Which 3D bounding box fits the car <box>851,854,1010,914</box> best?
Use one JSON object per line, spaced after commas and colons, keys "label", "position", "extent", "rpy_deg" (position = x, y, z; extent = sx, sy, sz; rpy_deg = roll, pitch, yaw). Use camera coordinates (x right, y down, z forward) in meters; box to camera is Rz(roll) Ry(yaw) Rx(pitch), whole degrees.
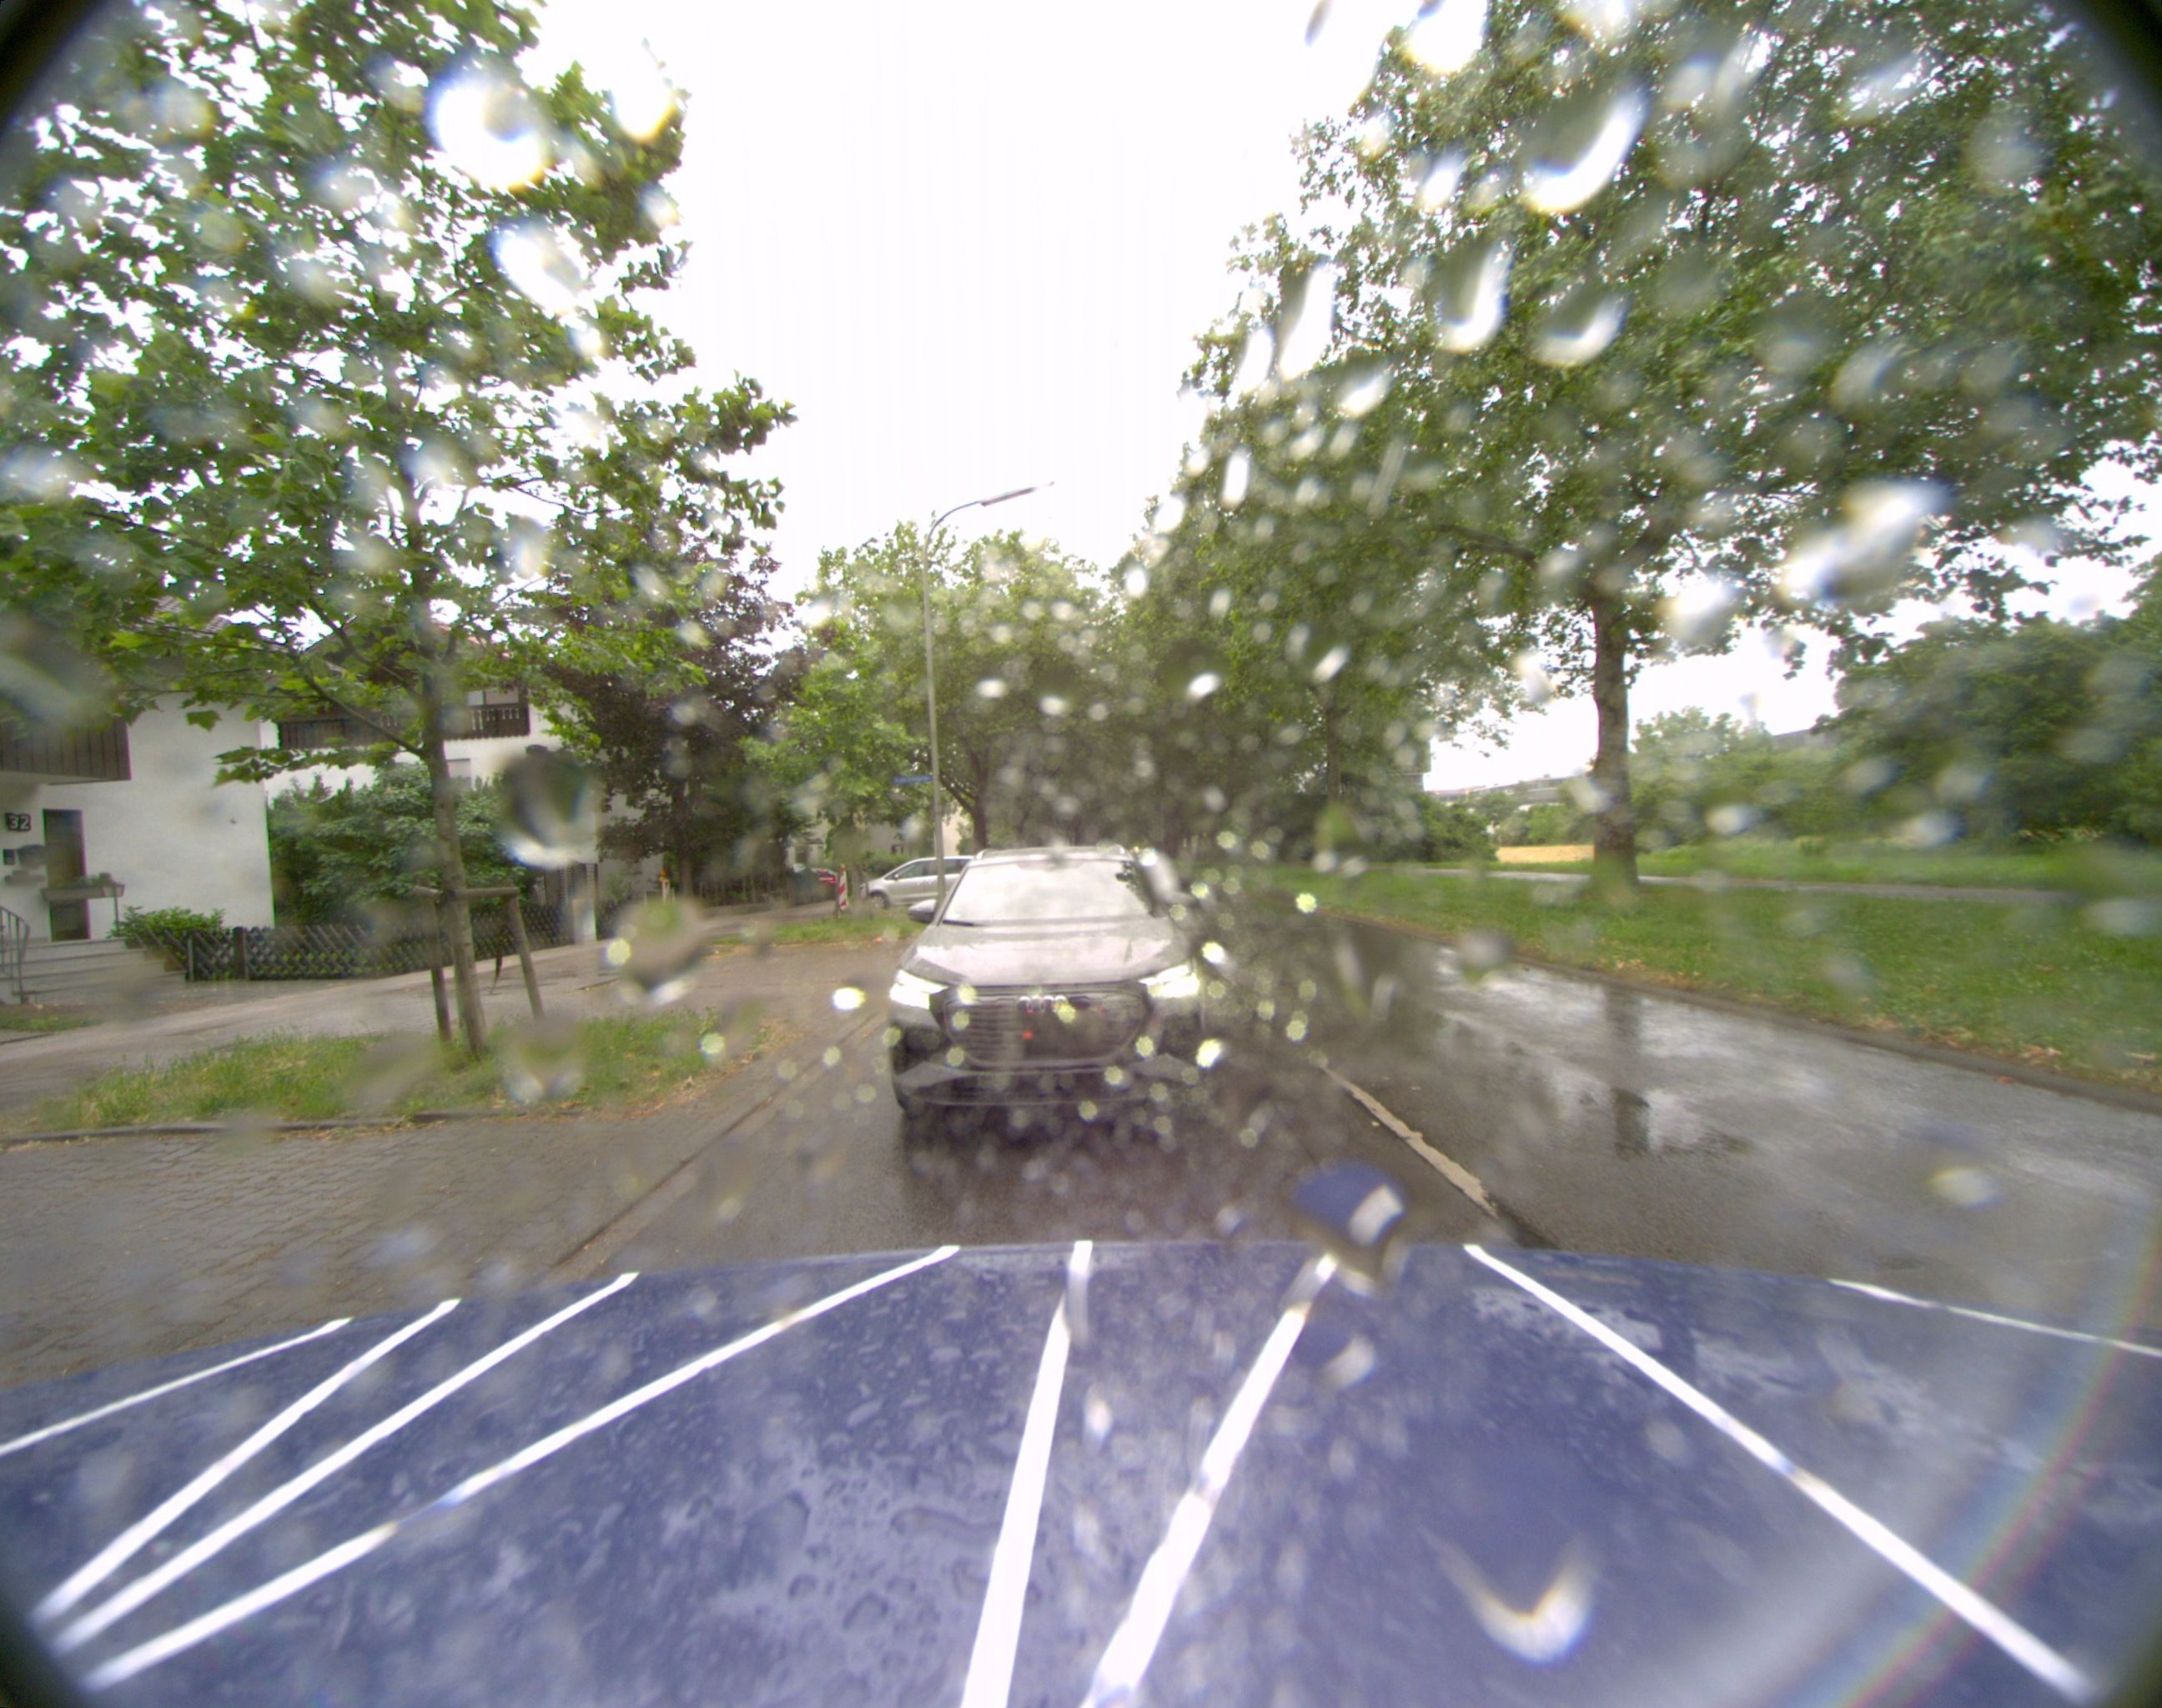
{"label": "car", "position": [-4.786, 0.940, 24.716], "extent": [4.701, 1.651, 1.976], "rpy_deg": [-3, 0, -1]}

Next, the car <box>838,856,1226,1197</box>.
{"label": "car", "position": [-0.209, 0.871, 5.992], "extent": [1.862, 1.608, 4.423], "rpy_deg": [-3, 0, 1]}

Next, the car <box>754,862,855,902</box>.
{"label": "car", "position": [-12.639, 1.256, 34.897], "extent": [3.853, 1.603, 1.843], "rpy_deg": [-3, 0, 2]}

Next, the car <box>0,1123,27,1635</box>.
{"label": "car", "position": [-4.775, 1.112, 0.611], "extent": [4.779, 1.464, 1.937], "rpy_deg": [-2, 0, -4]}
